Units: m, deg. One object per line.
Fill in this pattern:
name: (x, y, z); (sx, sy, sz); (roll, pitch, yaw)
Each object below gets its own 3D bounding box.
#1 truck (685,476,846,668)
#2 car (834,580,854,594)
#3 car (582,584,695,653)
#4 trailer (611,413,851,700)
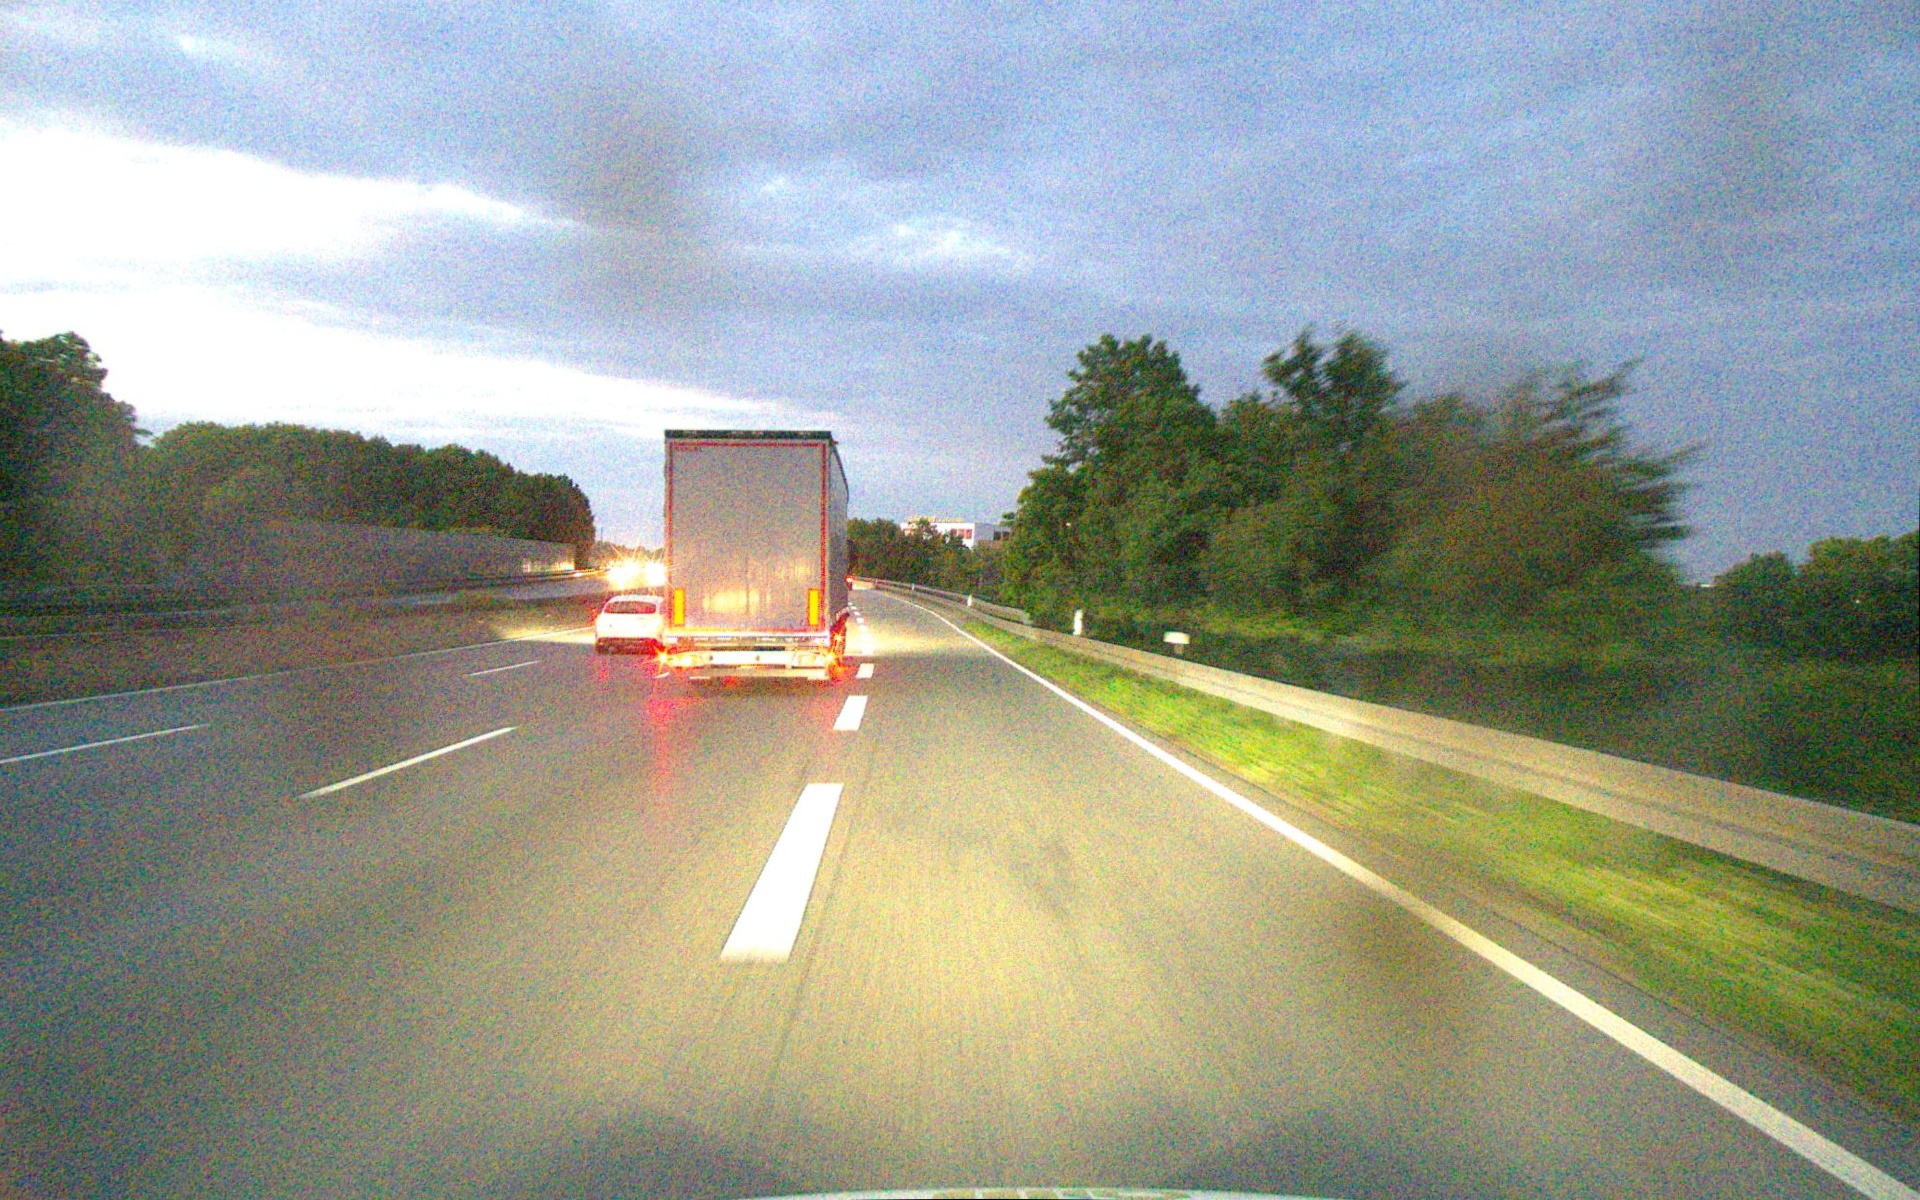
truck: (-4.465, -0.604, 39.157); (3.481, 4.163, 6.145); (0, 0, -5)
car: (-12.633, -1.426, 180.555); (1.956, 1.378, 3.993); (2, -2, -7)
car: (-8.231, 0.531, 42.822); (1.867, 1.643, 4.803); (1, -2, 1)
trailer: (-3.917, -0.618, 31.753); (3.480, 4.188, 15.049); (0, 0, -4)
